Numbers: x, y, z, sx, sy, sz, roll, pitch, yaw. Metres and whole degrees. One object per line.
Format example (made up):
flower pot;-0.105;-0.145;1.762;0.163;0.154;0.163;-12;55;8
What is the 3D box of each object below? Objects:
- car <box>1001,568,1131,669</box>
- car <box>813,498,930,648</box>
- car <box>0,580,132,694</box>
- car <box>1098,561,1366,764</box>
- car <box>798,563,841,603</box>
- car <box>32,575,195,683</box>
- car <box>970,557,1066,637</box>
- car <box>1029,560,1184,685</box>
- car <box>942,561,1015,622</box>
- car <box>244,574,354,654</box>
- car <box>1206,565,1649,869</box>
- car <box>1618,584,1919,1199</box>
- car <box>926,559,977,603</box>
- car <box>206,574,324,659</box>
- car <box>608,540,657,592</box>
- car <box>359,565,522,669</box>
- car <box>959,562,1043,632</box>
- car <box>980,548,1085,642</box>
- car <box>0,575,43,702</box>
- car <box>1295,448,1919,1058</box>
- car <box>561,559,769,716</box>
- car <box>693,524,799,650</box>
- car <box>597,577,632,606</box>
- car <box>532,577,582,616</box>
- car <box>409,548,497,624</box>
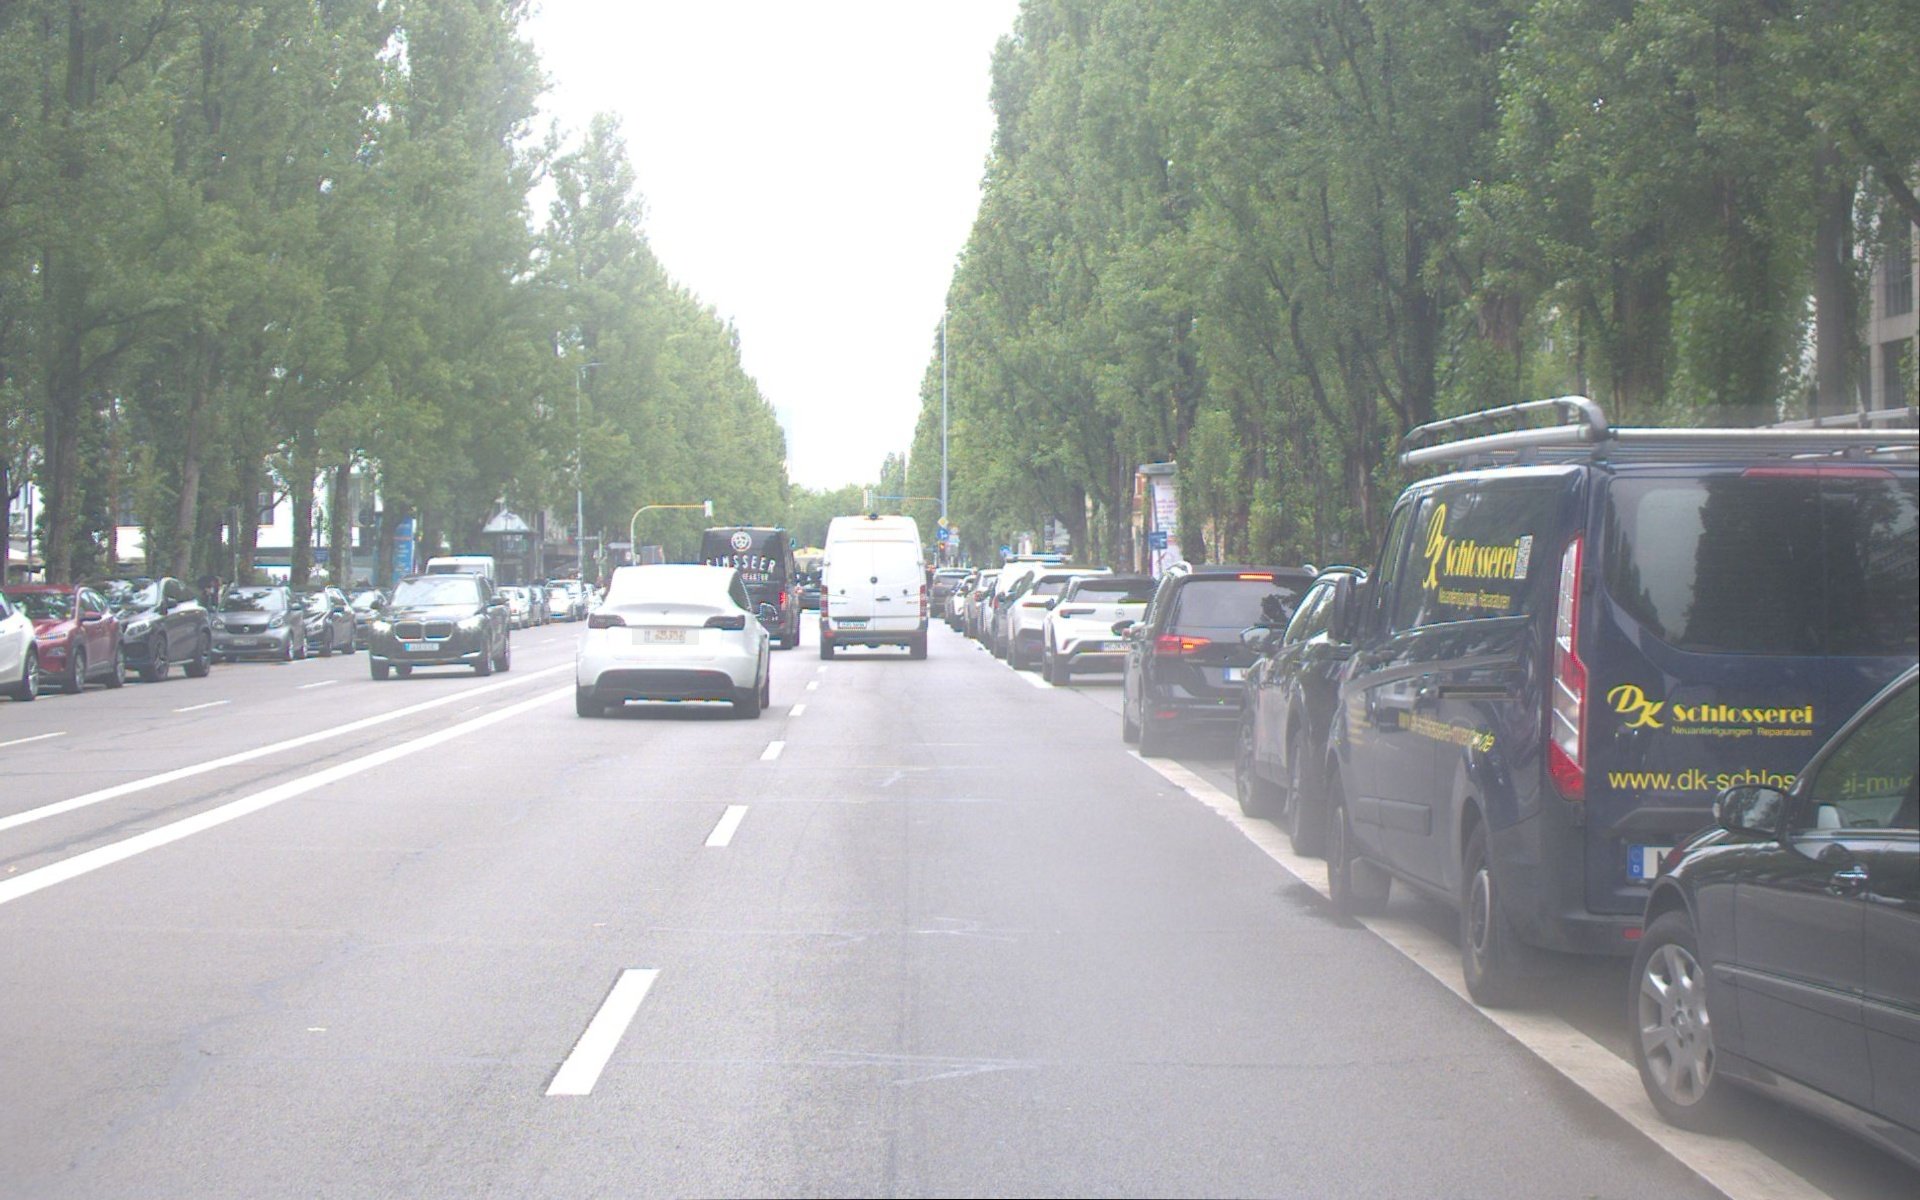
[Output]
car;1.672;0.275;55.563;1.742;1.541;3.951;1;0;-3
car;-1.670;-0.535;64.694;2.040;2.643;6.042;1;1;-2
car;-13.456;0.511;50.390;1.761;1.573;3.973;0;1;-2
car;2.239;0.482;29.257;1.742;1.586;3.951;1;0;-3
car;-5.859;-0.707;143.076;1.742;1.637;3.951;1;0;-3
car;-13.739;0.438;55.986;1.761;1.573;3.973;0;2;-2
car;1.200;-0.082;73.088;1.742;1.637;3.951;1;0;-3
car;1.984;0.278;47.503;1.742;1.637;3.951;1;0;-3
car;0.493;-0.240;94.834;1.742;1.637;3.951;1;0;-3
car;-14.127;0.270;73.617;1.761;1.573;3.461;0;2;-2
car;2.515;0.580;19.422;1.742;1.521;3.951;1;0;-3
car;2.874;0.746;7.737;1.742;1.521;4.235;1;0;-3
car;-0.333;-0.743;131.202;1.742;1.637;3.951;1;0;-3
car;-14.012;0.322;69.478;1.761;1.573;3.461;0;2;-2
car;-17.983;-1.904;189.191;2.193;2.709;7.001;0;2;-2
car;-8.170;0.236;54.439;1.993;1.543;4.639;1;1;-2
car;0.976;-0.092;83.502;1.742;1.637;3.951;1;0;-3
car;1.403;-0.118;67.745;1.742;1.781;3.951;1;0;-3
car;-13.275;0.521;44.622;1.761;1.573;3.973;0;2;-2
car;2.652;0.470;13.417;1.910;1.918;5.040;1;0;-3
car;-3.144;0.358;37.467;1.993;1.570;4.639;1;1;-2
car;-4.513;-0.303;73.314;2.075;2.547;5.932;1;1;-2
car;-17.983;-0.450;178.799;1.551;1.343;3.461;0;2;-2
car;-15.126;-0.147;129.039;1.551;1.343;3.461;0;2;-2
car;-15.048;-0.446;102.302;1.993;2.112;5.001;0;2;-2
